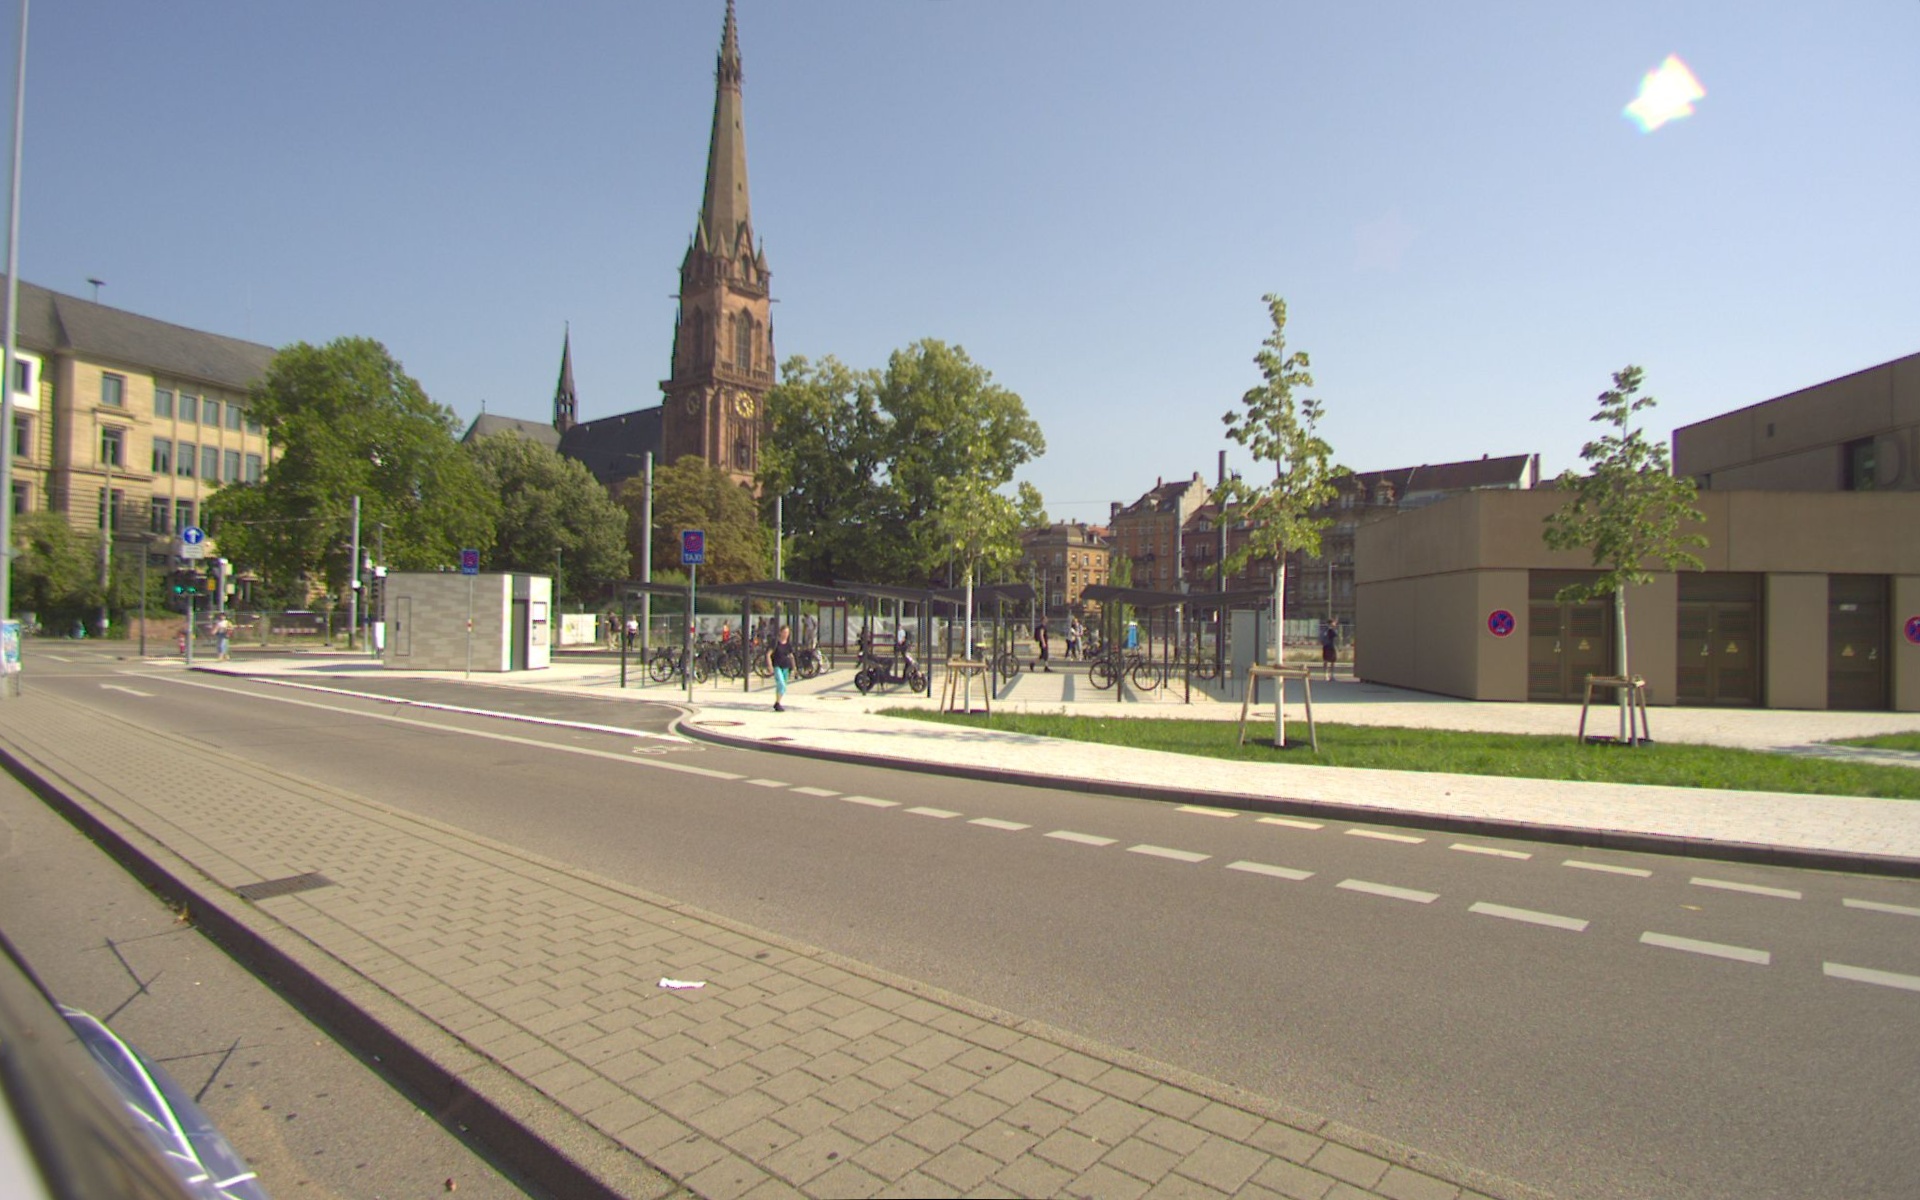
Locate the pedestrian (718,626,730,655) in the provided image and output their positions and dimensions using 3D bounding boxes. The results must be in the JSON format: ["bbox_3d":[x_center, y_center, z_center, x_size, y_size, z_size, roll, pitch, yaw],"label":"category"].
[{"bbox_3d":[-10.638,1.826,45.628,0.411,1.328,0.392,-1,0,12],"label":"pedestrian"}]

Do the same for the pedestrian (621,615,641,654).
[{"bbox_3d":[-14.725,1.546,45.329,0.389,1.762,0.707,-1,-2,39],"label":"pedestrian"}]

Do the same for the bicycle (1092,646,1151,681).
[{"bbox_3d":[4.873,1.905,30.631,1.725,1.017,0.400,1,-2,8],"label":"bicycle"}]

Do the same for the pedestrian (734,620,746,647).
[{"bbox_3d":[-9.953,1.520,45.844,0.378,1.233,0.438,-1,0,8],"label":"pedestrian"}]

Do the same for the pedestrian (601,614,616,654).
[{"bbox_3d":[-15.333,1.481,44.121,0.510,1.720,0.505,2,-1,-25],"label":"pedestrian"}]

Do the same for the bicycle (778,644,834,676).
[{"bbox_3d":[-4.589,1.785,30.194,1.569,0.899,0.409,1,-2,8],"label":"bicycle"}]

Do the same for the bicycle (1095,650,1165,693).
[{"bbox_3d":[4.272,1.793,25.474,1.725,1.017,0.400,1,-2,8],"label":"bicycle"}]

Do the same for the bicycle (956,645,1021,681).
[{"bbox_3d":[0.842,1.845,29.661,1.853,1.017,0.460,1,-2,8],"label":"bicycle"}]

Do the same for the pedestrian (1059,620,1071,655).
[{"bbox_3d":[4.408,1.561,42.495,0.464,1.432,0.567,-1,0,9],"label":"pedestrian"}]

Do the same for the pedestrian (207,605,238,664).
[{"bbox_3d":[-25.855,1.212,35.490,0.721,2.029,0.716,2,-2,-27],"label":"pedestrian"}]

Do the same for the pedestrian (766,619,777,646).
[{"bbox_3d":[-8.596,1.484,46.093,0.378,1.233,0.438,-1,0,8],"label":"pedestrian"}]

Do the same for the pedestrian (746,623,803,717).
[{"bbox_3d":[-3.209,1.202,17.553,0.663,1.577,0.748,0,-2,24],"label":"pedestrian"}]

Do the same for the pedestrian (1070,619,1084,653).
[{"bbox_3d":[5.030,1.549,43.416,0.562,1.432,0.468,-1,0,9],"label":"pedestrian"}]

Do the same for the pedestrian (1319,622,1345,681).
[{"bbox_3d":[11.315,1.561,30.792,0.650,1.783,0.473,0,-2,31],"label":"pedestrian"}]

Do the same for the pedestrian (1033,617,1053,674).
[{"bbox_3d":[2.646,1.456,32.354,0.585,1.815,0.333,1,-2,3],"label":"pedestrian"}]

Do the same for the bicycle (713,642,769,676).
[{"bbox_3d":[-6.590,1.764,30.435,1.569,0.985,0.451,1,0,8],"label":"bicycle"}]

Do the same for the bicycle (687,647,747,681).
[{"bbox_3d":[-6.730,1.758,28.097,1.569,0.899,0.409,1,-2,8],"label":"bicycle"}]

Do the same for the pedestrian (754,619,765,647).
[{"bbox_3d":[-9.154,1.506,46.211,0.378,1.233,0.438,-1,0,8],"label":"pedestrian"}]

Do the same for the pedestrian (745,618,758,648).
[{"bbox_3d":[-9.149,1.441,44.494,0.430,1.328,0.438,-1,0,8],"label":"pedestrian"}]

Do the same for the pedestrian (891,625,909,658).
[{"bbox_3d":[-2.593,1.801,43.751,0.636,1.405,0.661,1,-2,5],"label":"pedestrian"}]

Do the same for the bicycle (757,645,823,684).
[{"bbox_3d":[-4.656,1.759,27.742,1.693,0.994,0.532,1,-2,8],"label":"bicycle"}]

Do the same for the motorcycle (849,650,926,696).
[{"bbox_3d":[-1.688,1.705,23.778,1.725,1.017,0.542,1,-2,8],"label":"motorcycle"}]

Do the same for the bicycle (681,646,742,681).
[{"bbox_3d":[-6.767,1.727,27.544,1.569,0.899,0.400,1,-2,8],"label":"bicycle"}]

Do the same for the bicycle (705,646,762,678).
[{"bbox_3d":[-6.527,1.783,29.201,1.569,0.899,0.400,1,-2,8],"label":"bicycle"}]

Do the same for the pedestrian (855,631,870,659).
[{"bbox_3d":[-4.252,1.950,44.062,0.567,1.206,0.466,0,-2,8],"label":"pedestrian"}]

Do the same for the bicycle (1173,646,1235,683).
[{"bbox_3d":[7.248,1.910,30.096,1.723,1.028,0.473,1,-2,7],"label":"bicycle"}]

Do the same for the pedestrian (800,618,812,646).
[{"bbox_3d":[-7.018,1.465,46.147,0.378,1.233,0.438,-1,0,8],"label":"pedestrian"}]

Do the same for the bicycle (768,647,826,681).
[{"bbox_3d":[-4.618,1.814,28.764,1.569,0.899,0.409,1,-2,8],"label":"bicycle"}]

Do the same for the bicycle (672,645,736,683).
[{"bbox_3d":[-6.785,1.695,26.837,1.569,0.975,0.421,1,-2,8],"label":"bicycle"}]

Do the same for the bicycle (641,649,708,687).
[{"bbox_3d":[-7.194,1.703,25.520,1.569,0.899,0.400,1,-2,8],"label":"bicycle"}]
